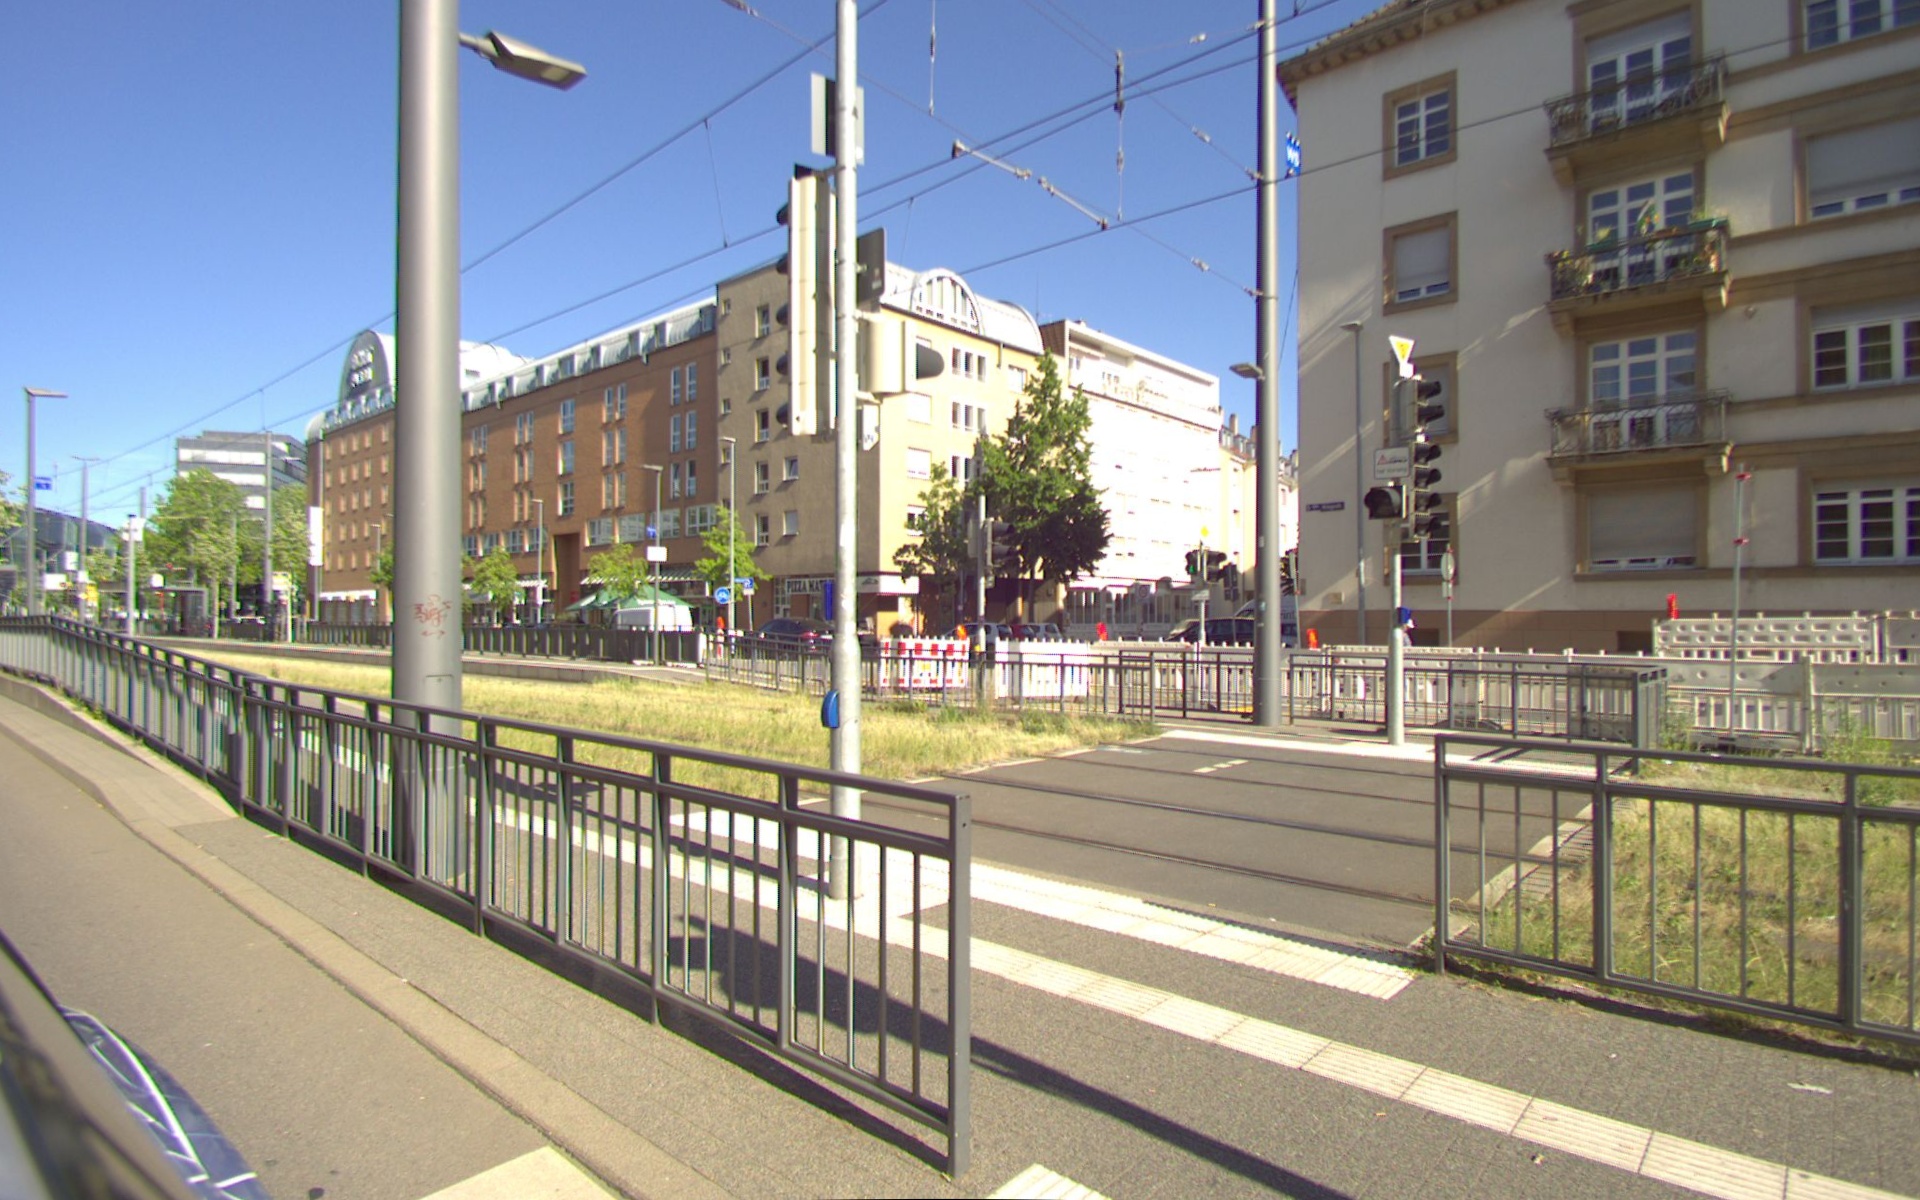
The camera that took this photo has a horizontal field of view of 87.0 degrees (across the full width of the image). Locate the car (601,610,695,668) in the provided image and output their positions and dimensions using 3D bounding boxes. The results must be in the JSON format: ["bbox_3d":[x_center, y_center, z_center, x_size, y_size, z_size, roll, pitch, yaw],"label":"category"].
[{"bbox_3d":[-13.637,1.603,44.036,1.969,2.314,5.197,-1,0,-41],"label":"car"}]

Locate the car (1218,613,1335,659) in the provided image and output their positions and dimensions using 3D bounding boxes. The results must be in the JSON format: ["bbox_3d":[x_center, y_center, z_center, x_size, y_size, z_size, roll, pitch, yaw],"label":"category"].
[{"bbox_3d":[12.274,1.355,39.273,3.989,1.652,1.848,0,0,34],"label":"car"}]

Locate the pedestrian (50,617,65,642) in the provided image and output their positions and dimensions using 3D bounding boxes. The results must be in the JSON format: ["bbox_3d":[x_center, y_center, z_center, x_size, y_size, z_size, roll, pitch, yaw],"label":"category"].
[{"bbox_3d":[-71.205,2.312,79.815,0.769,1.903,0.811,-1,-2,44],"label":"pedestrian"}]

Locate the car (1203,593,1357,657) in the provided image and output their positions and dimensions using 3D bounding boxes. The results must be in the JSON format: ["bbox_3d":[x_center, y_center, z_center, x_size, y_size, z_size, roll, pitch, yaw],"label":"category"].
[{"bbox_3d":[13.099,0.980,41.581,5.737,2.473,1.979,0,0,32],"label":"car"}]

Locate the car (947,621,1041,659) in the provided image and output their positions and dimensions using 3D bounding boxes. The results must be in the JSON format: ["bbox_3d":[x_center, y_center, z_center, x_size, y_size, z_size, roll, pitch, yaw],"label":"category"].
[{"bbox_3d":[1.476,1.725,44.392,3.955,1.563,1.457,0,0,33],"label":"car"}]

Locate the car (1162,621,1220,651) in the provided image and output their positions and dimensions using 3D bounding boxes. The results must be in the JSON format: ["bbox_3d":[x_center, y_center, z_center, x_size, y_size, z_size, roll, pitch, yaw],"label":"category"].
[{"bbox_3d":[13.198,2.046,57.714,1.993,1.630,4.141,0,-2,31],"label":"car"}]

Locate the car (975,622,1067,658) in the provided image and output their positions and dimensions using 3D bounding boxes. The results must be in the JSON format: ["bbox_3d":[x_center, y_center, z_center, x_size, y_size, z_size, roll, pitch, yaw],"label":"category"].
[{"bbox_3d":[2.787,1.803,46.609,3.997,1.497,1.693,0,0,40],"label":"car"}]

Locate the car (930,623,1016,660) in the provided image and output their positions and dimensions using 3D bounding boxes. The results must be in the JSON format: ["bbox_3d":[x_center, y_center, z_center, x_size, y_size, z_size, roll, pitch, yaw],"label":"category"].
[{"bbox_3d":[0.543,1.713,42.368,3.334,1.438,1.424,0,0,29],"label":"car"}]

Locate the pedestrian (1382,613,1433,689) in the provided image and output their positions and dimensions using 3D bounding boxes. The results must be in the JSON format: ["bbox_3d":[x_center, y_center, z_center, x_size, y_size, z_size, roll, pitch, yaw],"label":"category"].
[{"bbox_3d":[9.134,1.038,20.676,0.798,1.515,0.708,0,-1,13],"label":"pedestrian"}]

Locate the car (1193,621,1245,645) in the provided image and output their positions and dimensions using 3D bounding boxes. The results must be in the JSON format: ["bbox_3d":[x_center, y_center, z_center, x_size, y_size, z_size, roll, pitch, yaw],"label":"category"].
[{"bbox_3d":[15.983,2.028,62.292,1.993,1.457,4.141,0,-2,31],"label":"car"}]

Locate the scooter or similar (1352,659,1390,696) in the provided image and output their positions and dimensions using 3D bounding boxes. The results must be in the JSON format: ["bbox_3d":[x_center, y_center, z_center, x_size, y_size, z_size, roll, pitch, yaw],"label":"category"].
[{"bbox_3d":[8.450,1.590,20.821,0.601,0.725,0.708,0,-1,12],"label":"scooter or similar"}]

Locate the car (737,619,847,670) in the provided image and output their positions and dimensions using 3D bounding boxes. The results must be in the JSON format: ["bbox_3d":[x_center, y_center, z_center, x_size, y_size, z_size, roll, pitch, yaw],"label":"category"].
[{"bbox_3d":[-6.016,1.547,36.024,3.996,1.652,1.677,0,0,39],"label":"car"}]

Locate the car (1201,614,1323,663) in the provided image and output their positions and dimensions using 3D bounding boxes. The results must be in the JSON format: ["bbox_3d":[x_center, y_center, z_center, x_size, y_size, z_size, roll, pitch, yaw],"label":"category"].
[{"bbox_3d":[11.146,1.372,37.385,3.989,1.652,1.848,0,0,34],"label":"car"}]

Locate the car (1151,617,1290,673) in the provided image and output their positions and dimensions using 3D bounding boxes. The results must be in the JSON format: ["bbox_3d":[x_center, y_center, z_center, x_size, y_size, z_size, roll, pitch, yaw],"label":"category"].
[{"bbox_3d":[8.413,1.412,32.824,3.994,1.652,1.845,0,0,38],"label":"car"}]
